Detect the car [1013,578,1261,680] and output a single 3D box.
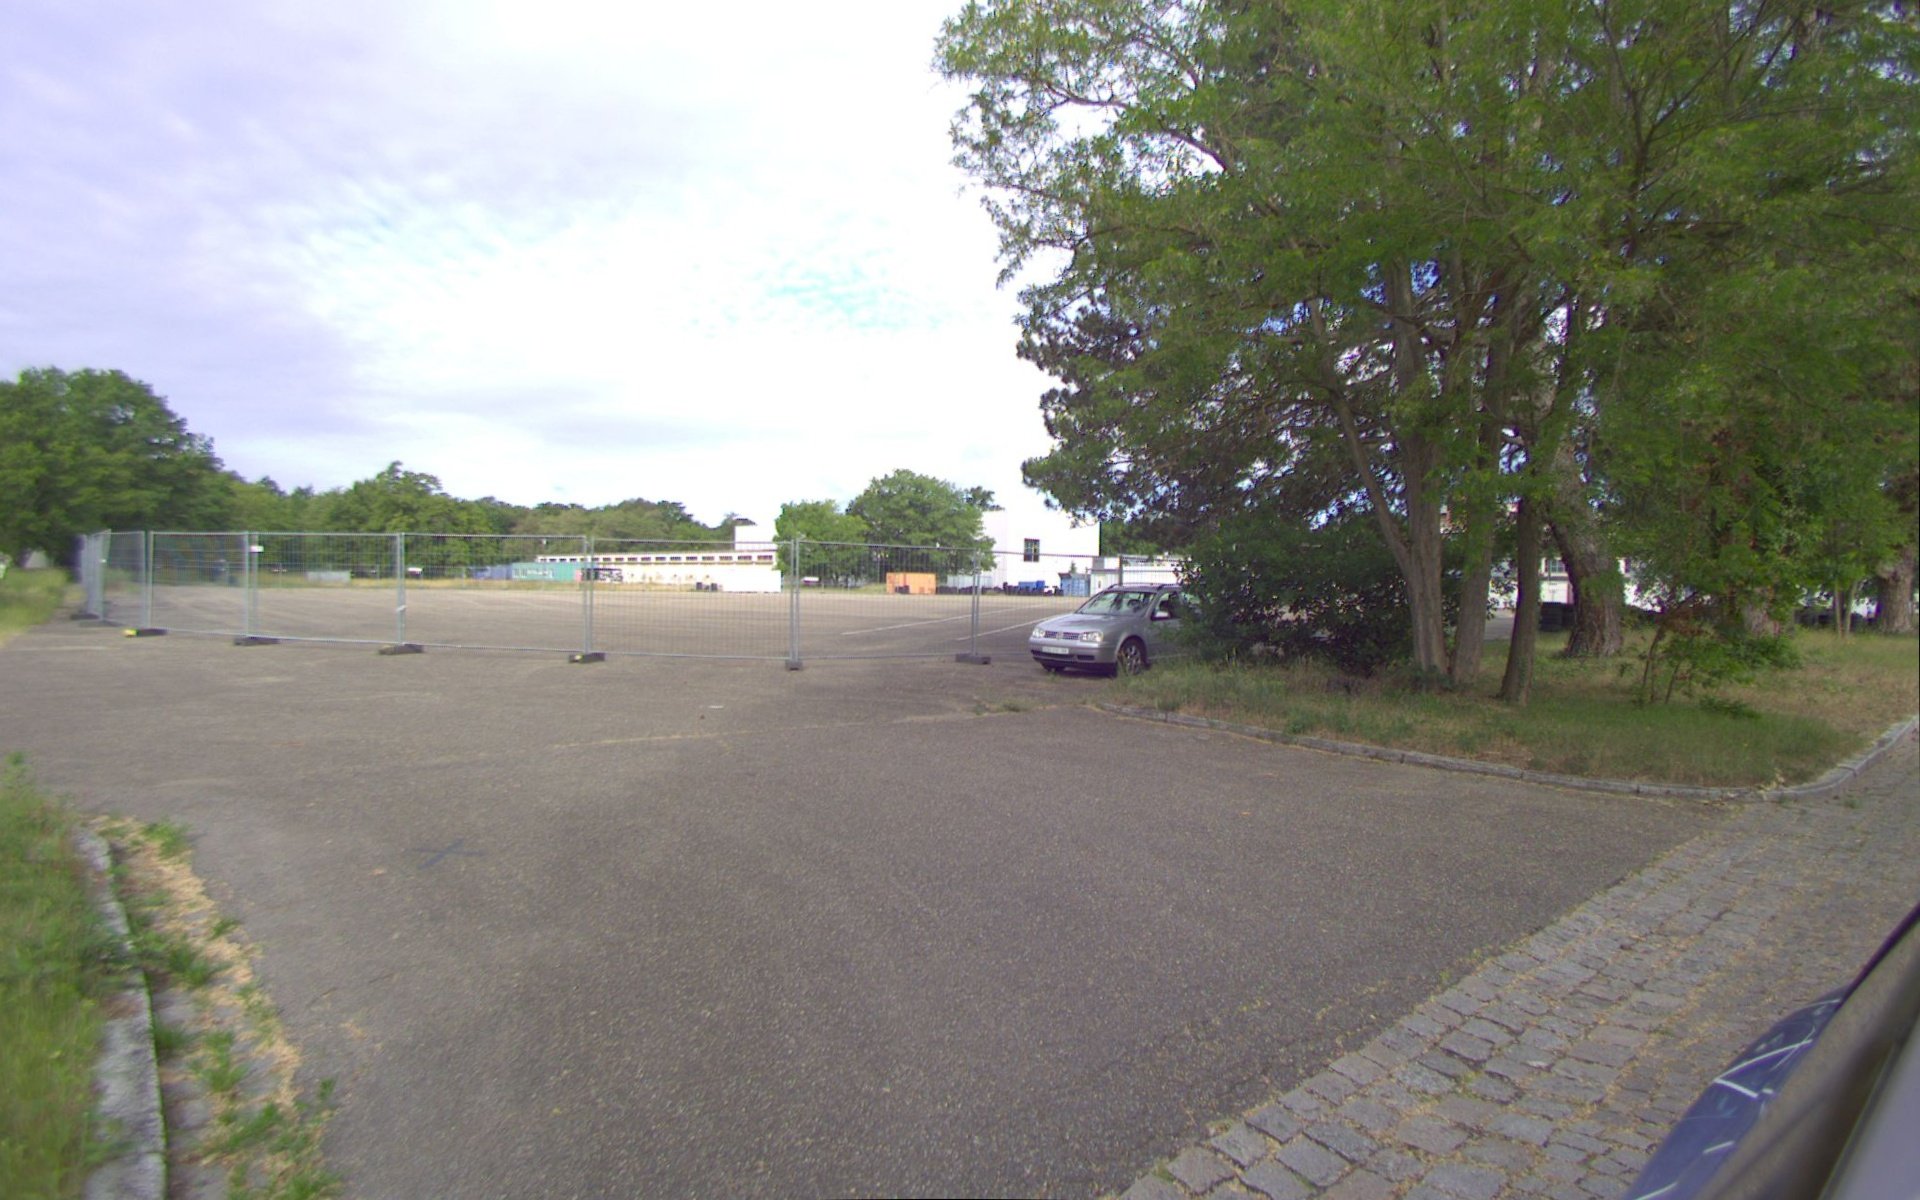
[{"bbox_3d":[3.029,0.407,16.832,4.251,1.466,1.758,0,1,-41],"label":"car"}]
